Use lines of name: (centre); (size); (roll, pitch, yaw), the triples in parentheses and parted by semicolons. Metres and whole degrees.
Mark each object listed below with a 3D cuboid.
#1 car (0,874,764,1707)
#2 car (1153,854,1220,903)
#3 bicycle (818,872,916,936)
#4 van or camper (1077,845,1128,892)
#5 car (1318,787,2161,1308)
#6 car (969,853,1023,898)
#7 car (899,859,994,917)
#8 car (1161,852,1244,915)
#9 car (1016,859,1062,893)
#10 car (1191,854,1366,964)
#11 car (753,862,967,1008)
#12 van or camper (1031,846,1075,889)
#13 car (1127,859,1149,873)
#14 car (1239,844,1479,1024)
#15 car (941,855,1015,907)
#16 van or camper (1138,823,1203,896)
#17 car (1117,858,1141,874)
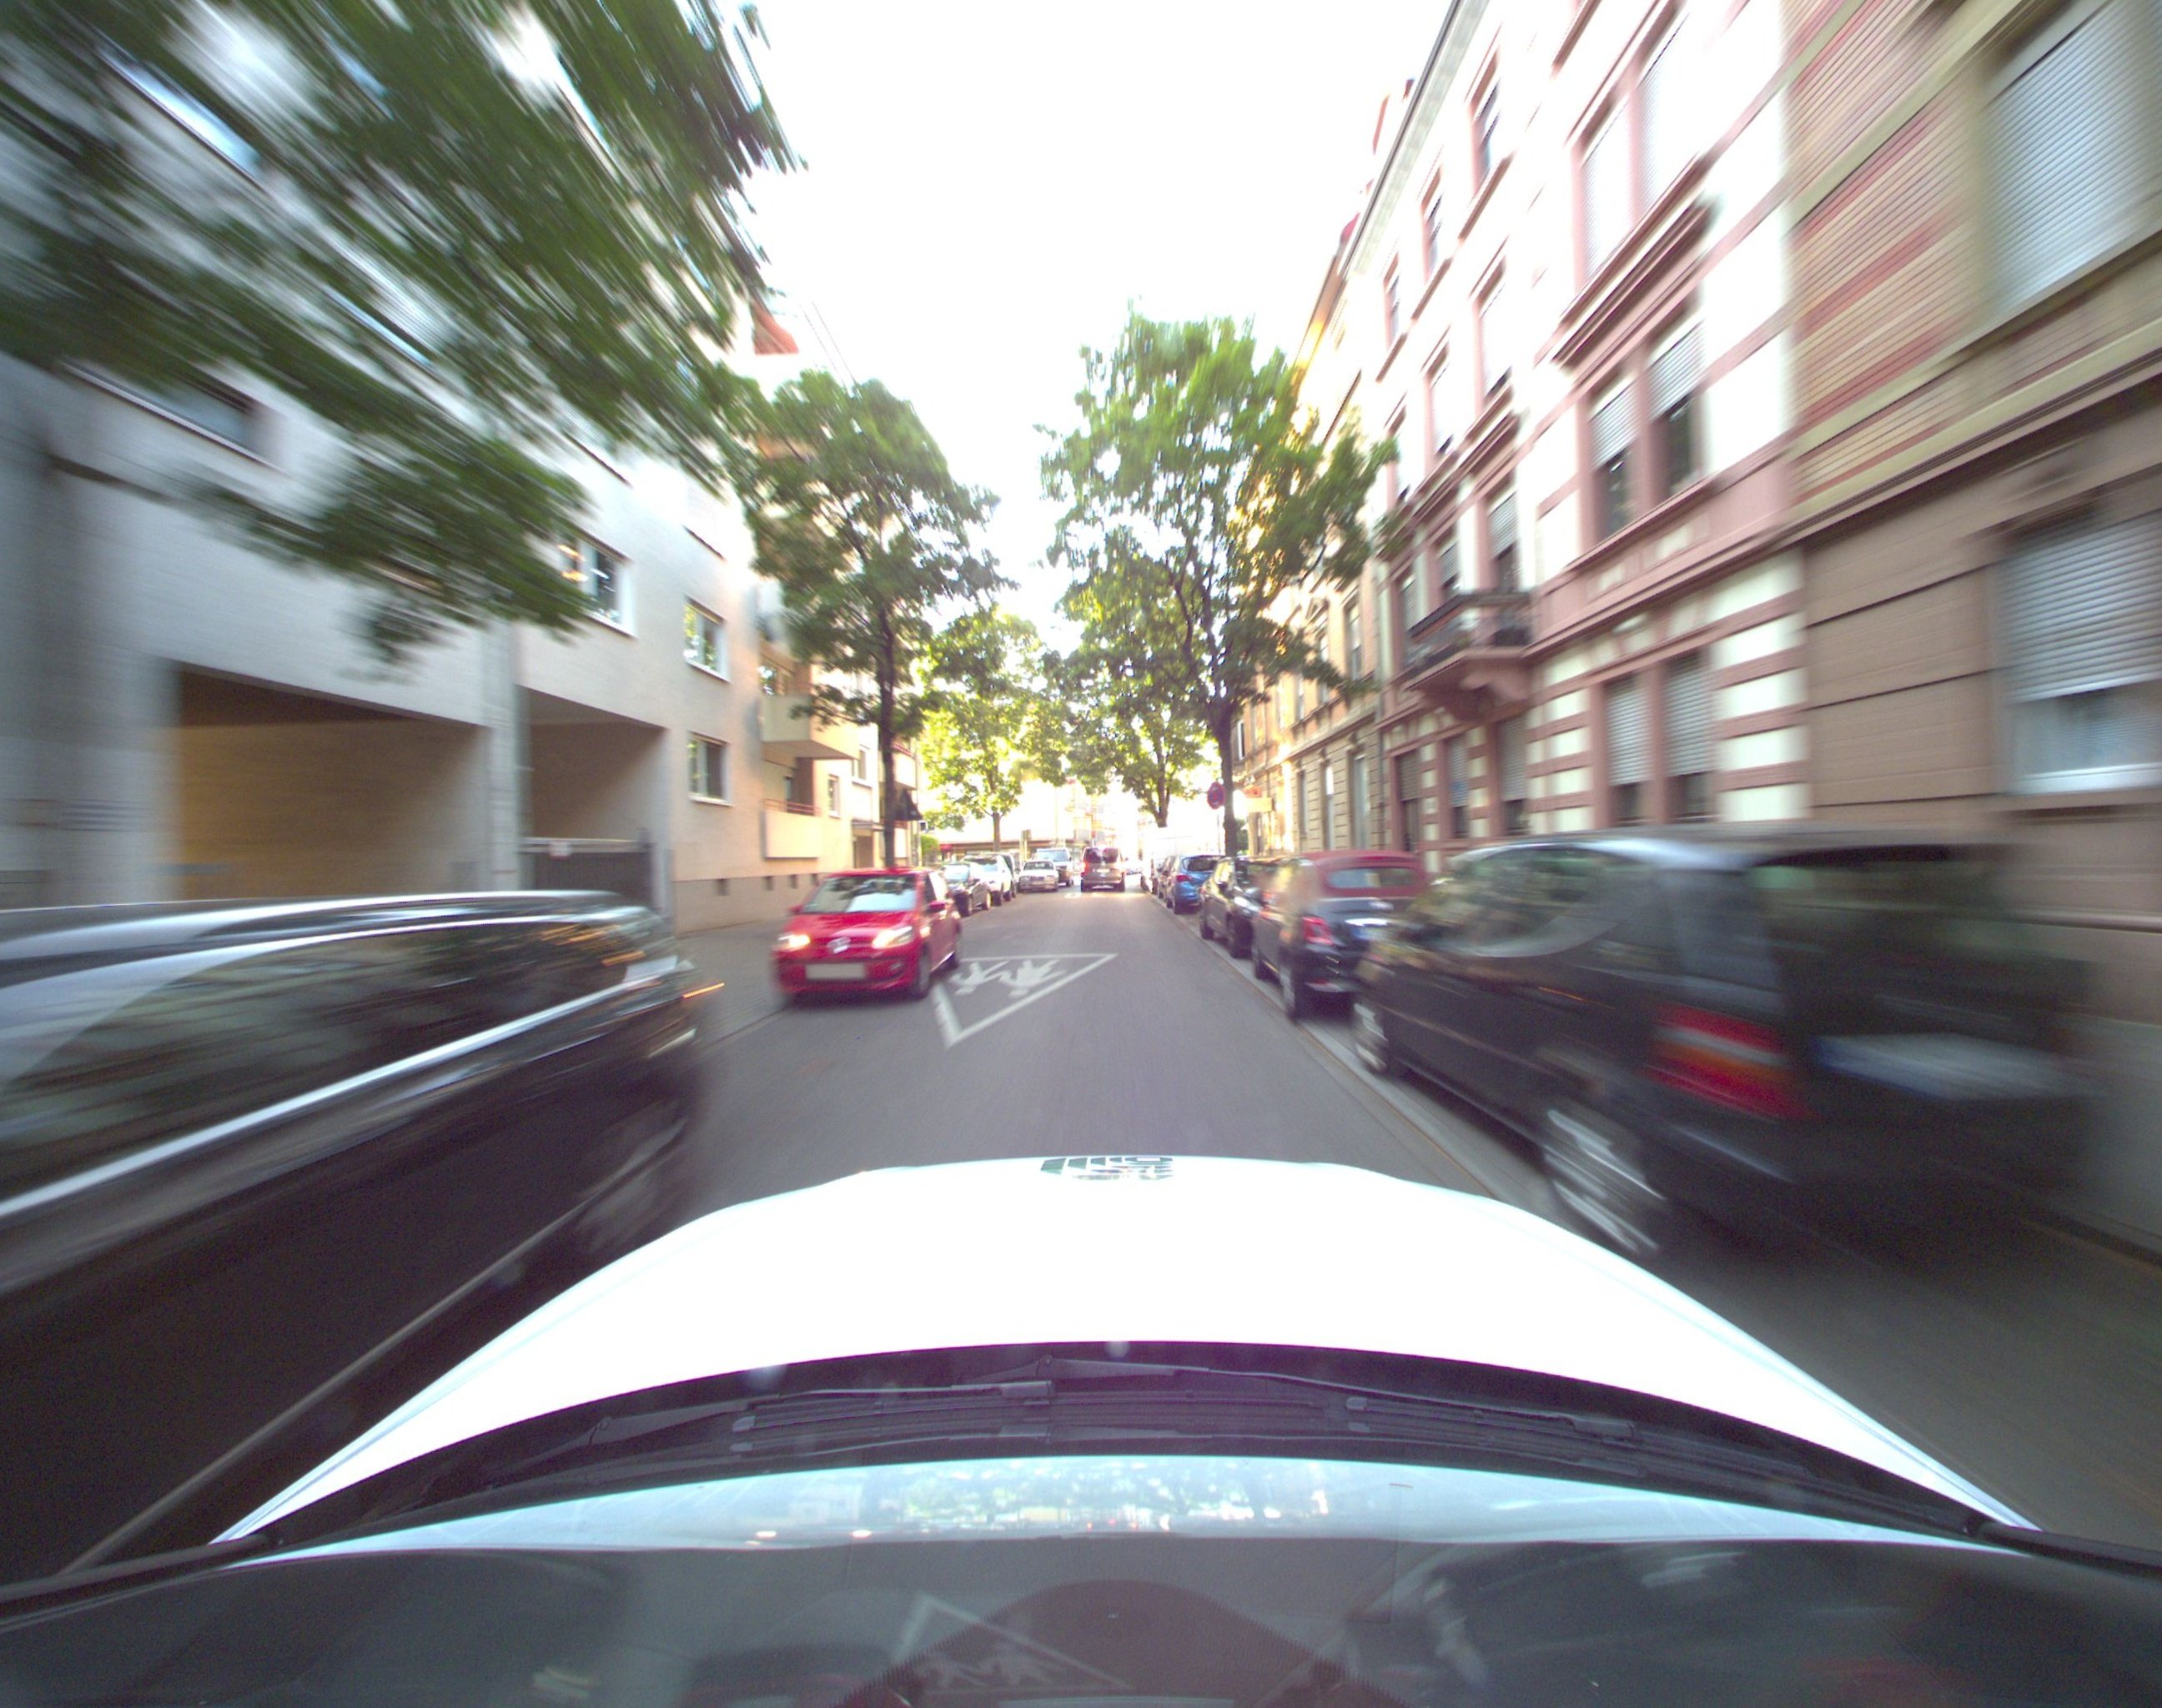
car: (-2.664, 0.837, 2.036); (1.839, 1.451, 4.504); (-1, 0, 2)
car: (3.393, 0.759, 26.715); (1.744, 1.471, 3.776); (-1, 0, 1)
bicycle: (-4.283, 0.974, 16.421); (1.839, 1.195, 0.597); (0, 0, -44)
van or camper: (1.007, 0.605, 35.534); (2.027, 1.897, 4.274); (-1, 0, 3)
car: (2.673, 0.606, 4.435); (1.607, 1.559, 3.765); (-2, 0, 0)
car: (-3.371, 0.820, 32.713); (1.735, 1.712, 3.375); (0, 0, 1)
car: (-3.688, 0.900, 23.052); (1.731, 1.484, 3.844); (0, 0, 5)
car: (3.107, 0.726, 21.461); (1.743, 1.471, 3.777); (-1, 0, 2)
car: (-1.836, 0.952, 36.415); (1.735, 1.404, 3.375); (-2, 0, 1)
car: (2.893, 0.738, 12.736); (1.710, 1.403, 3.811); (-2, 0, -1)
car: (-2.523, 0.855, 10.156); (1.625, 1.430, 3.542); (-2, 0, 0)
van or camper: (-1.370, 0.666, 41.515); (1.855, 1.983, 4.274); (-2, 0, 3)
car: (6.346, 1.302, 89.812); (1.783, 1.420, 3.761); (-1, 0, 13)
car: (2.677, 0.682, 8.653); (1.544, 1.496, 3.614); (-1, 0, 4)
car: (-3.443, 0.853, 27.886); (1.890, 1.637, 4.157); (0, 0, 1)
van or camper: (3.458, 0.210, 32.446); (1.987, 2.599, 5.423); (-1, 0, 0)
car: (4.988, 1.227, 84.217); (1.783, 1.578, 3.761); (-1, 0, 13)
